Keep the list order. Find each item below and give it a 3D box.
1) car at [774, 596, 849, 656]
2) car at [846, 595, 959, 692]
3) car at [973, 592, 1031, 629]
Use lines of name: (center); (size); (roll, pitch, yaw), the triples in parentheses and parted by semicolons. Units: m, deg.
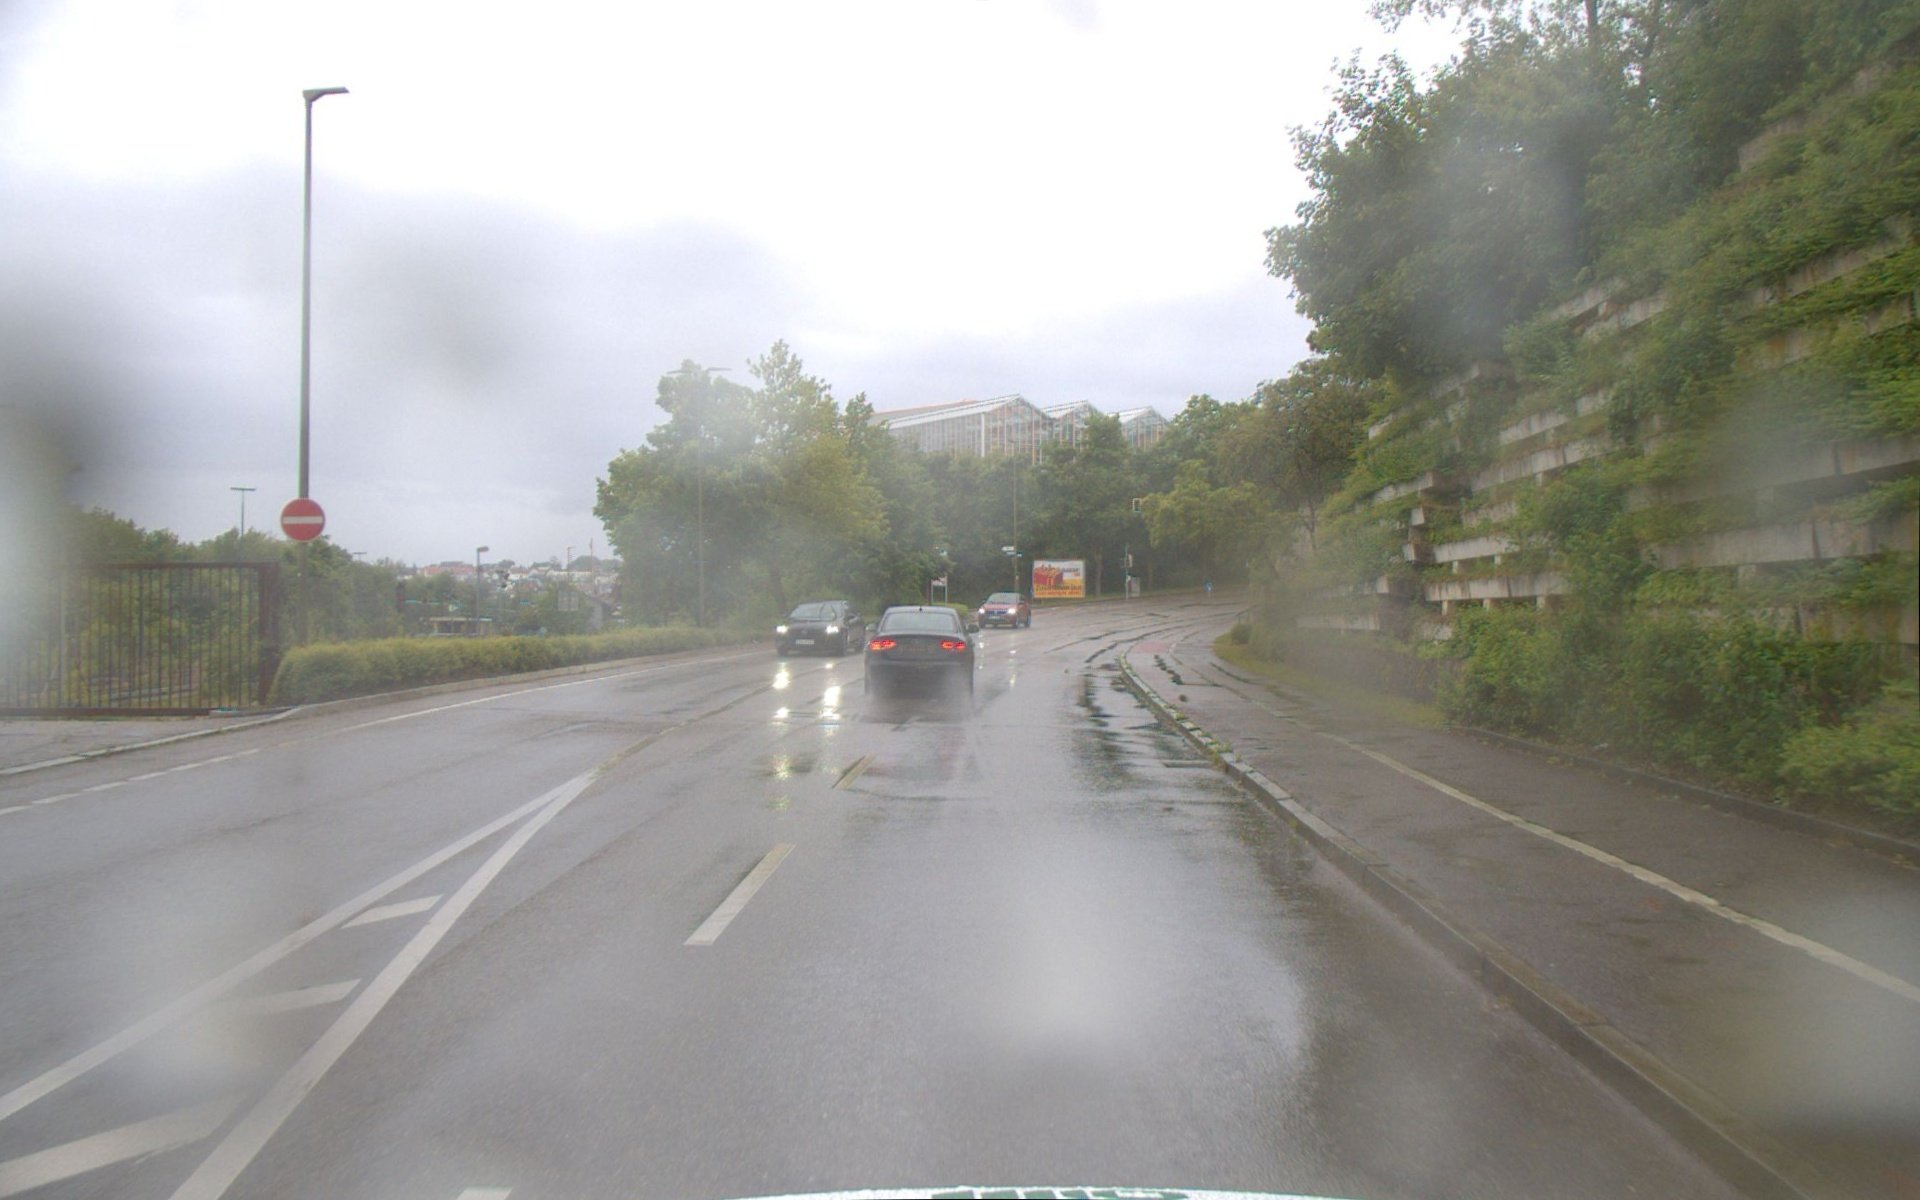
car: (-3.994, 0.688, 45.098); (1.688, 1.487, 4.542); (2, 0, -1)
car: (-1.006, 0.659, 27.204); (1.720, 1.420, 3.997); (1, 1, -4)
car: (1.920, 0.447, 74.798); (1.717, 1.562, 4.003); (1, 1, 15)
